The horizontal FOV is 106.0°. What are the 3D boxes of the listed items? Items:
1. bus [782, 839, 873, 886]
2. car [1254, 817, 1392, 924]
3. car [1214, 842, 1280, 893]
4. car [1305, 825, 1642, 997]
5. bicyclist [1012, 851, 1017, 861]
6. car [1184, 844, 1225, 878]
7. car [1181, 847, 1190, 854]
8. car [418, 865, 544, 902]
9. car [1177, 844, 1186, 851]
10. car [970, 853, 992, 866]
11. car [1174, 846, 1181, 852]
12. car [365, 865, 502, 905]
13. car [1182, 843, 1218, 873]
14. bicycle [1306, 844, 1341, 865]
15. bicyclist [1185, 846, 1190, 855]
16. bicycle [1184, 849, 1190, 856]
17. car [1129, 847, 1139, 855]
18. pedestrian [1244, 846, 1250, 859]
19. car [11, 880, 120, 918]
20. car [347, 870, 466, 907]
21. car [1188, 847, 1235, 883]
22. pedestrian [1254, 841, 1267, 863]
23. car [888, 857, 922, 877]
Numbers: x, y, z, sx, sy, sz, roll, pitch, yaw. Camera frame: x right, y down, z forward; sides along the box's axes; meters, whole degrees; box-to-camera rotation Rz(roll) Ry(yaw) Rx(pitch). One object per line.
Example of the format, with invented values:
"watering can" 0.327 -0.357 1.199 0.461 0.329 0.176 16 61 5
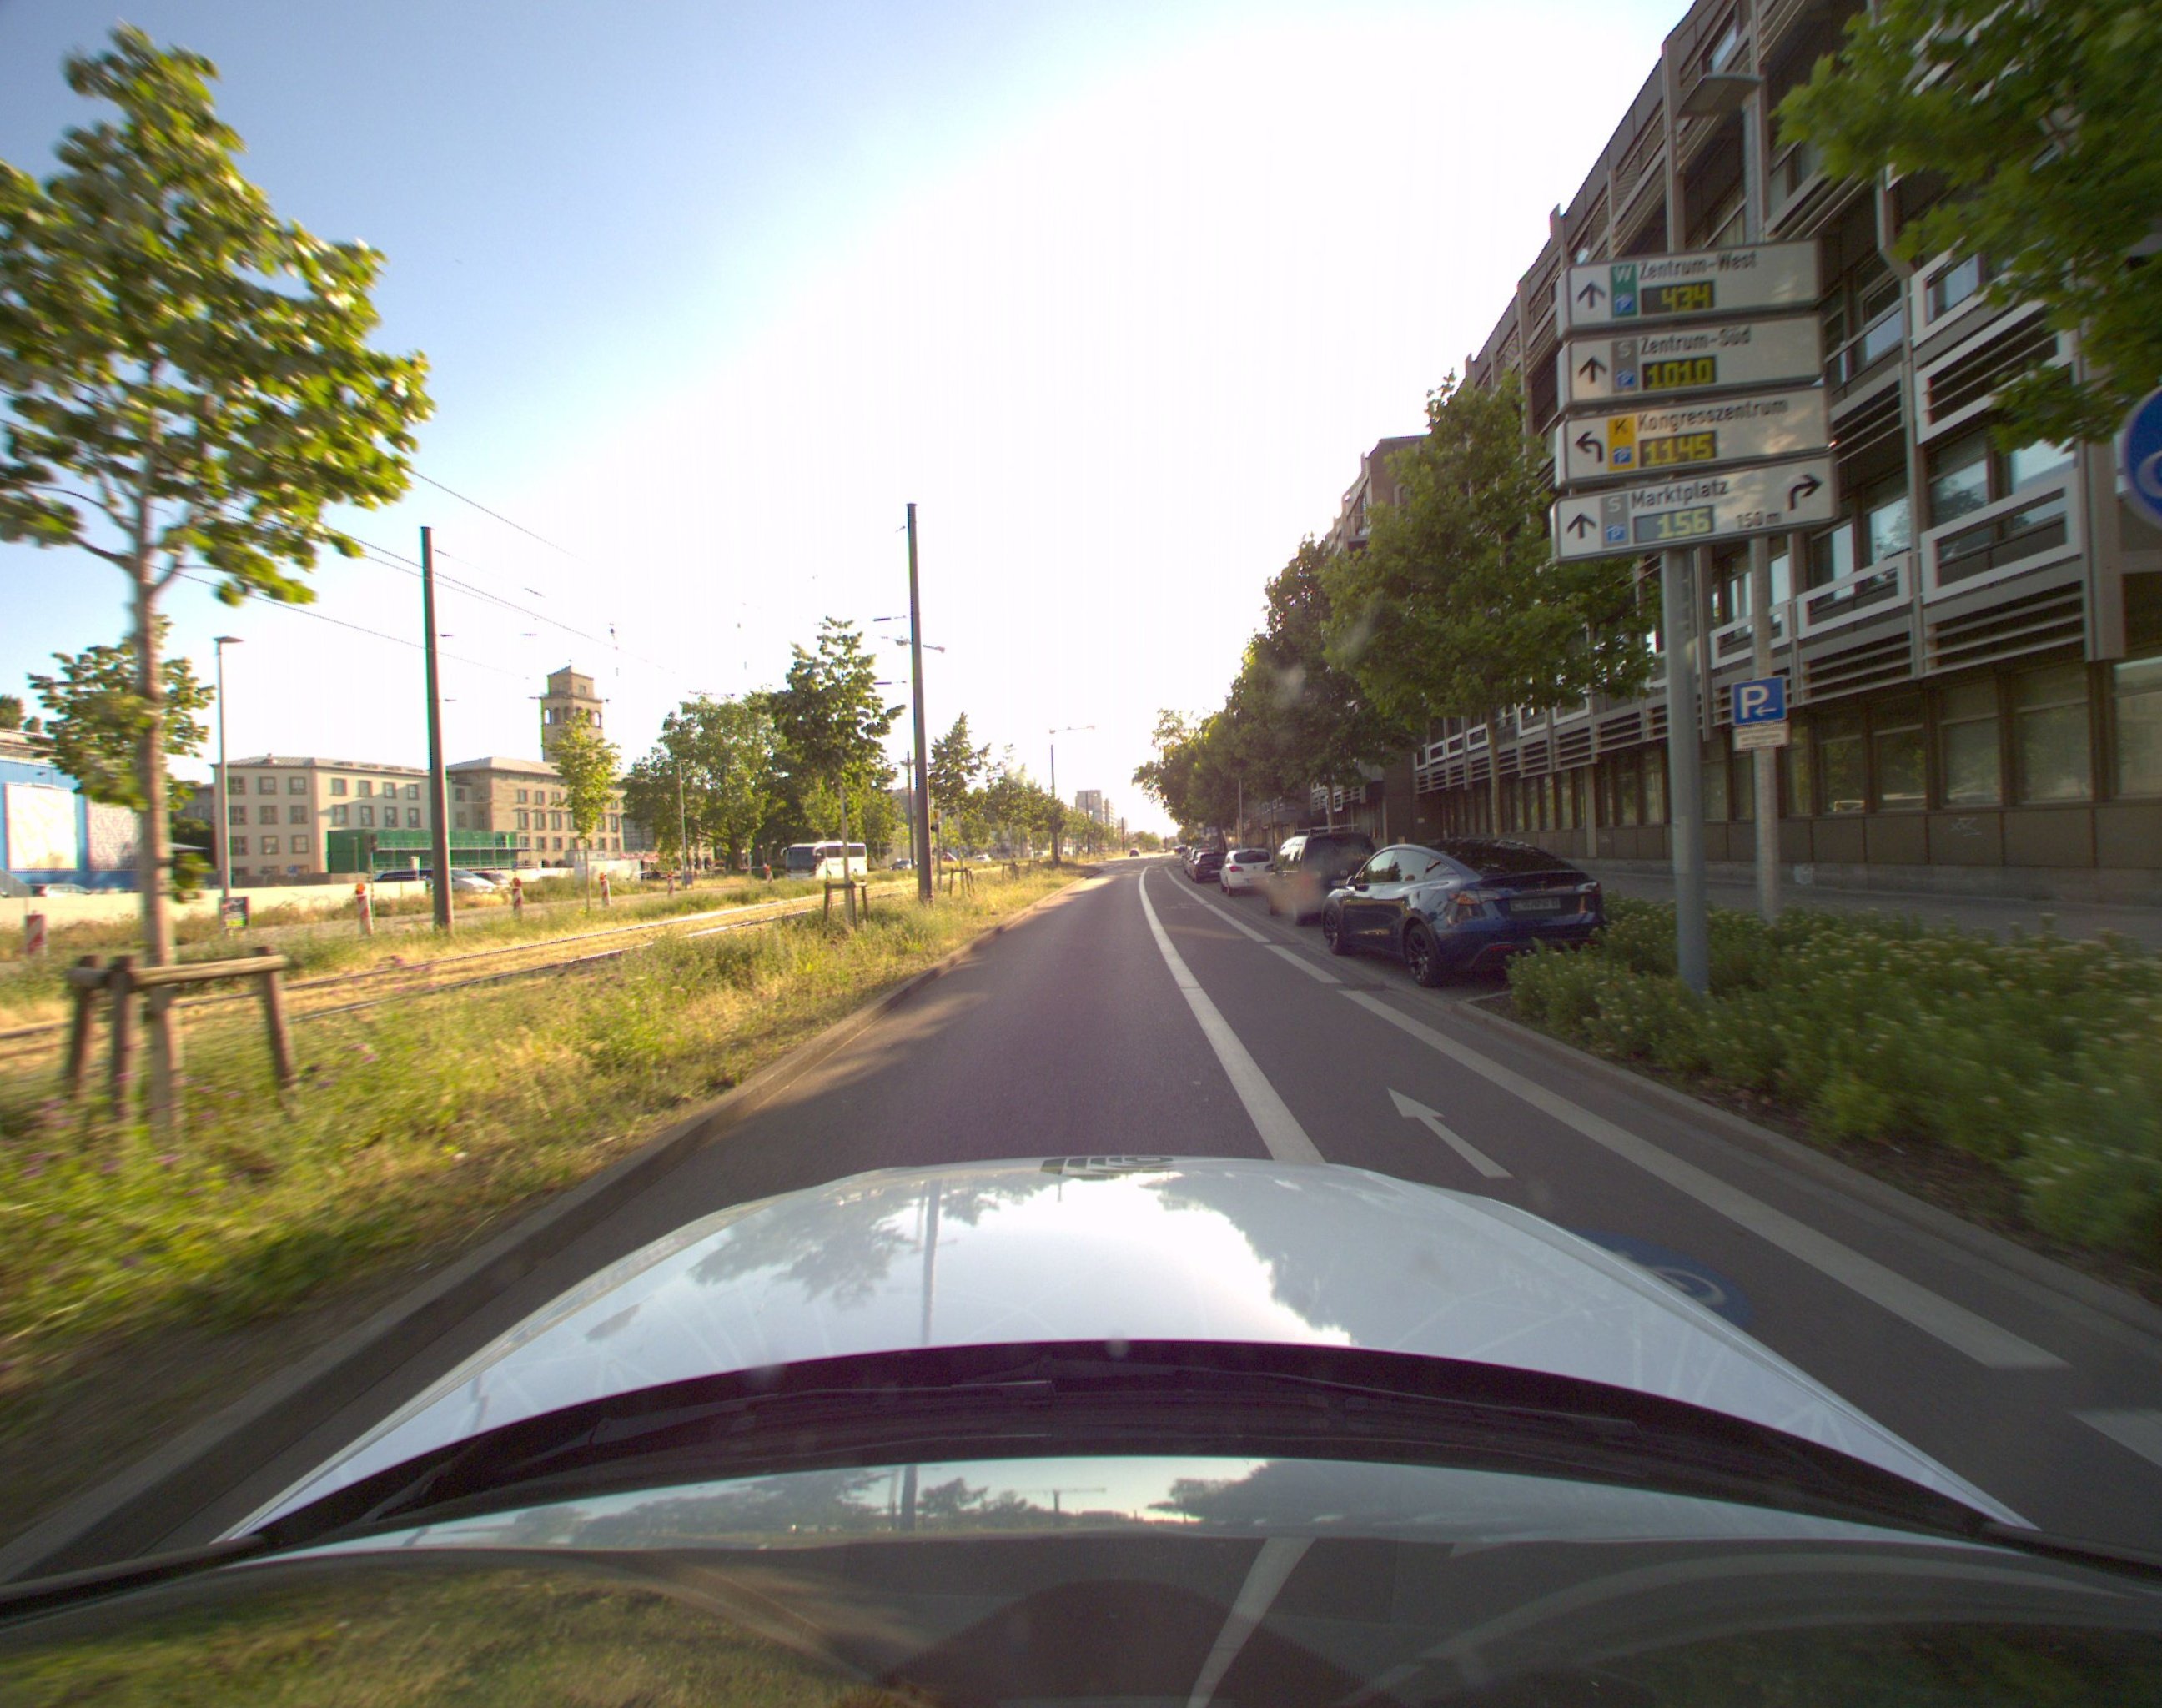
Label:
"bus" -21.537 0.624 70.275 2.786 3.594 12.716 -2 0 5
"car" 5.094 0.302 17.754 1.728 1.919 4.396 -4 0 2
"car" 5.559 0.410 27.714 1.656 1.489 4.210 -4 0 5
"car" 4.630 0.564 10.584 1.926 1.598 4.696 -4 0 -2
"bicyclist" -11.888 0.388 145.549 0.684 1.708 0.956 -2 0 7
"car" 6.670 0.327 44.353 1.720 1.621 4.220 -4 0 4
"car" 24.924 -0.868 194.890 1.931 1.484 3.931 -2 0 5
"car" -32.252 1.567 43.844 5.204 1.717 2.127 -2 0 3
"car" 22.073 -1.469 178.673 1.931 1.428 3.931 -2 0 5
"car" -13.363 0.674 109.195 1.985 1.642 4.173 -2 0 5
"car" 26.080 -1.274 220.958 1.750 1.484 3.856 -2 0 5
"car" -32.573 1.535 41.077 5.204 1.717 2.127 -2 0 3
"car" 7.287 0.210 50.273 1.720 1.688 4.519 -4 0 4
"bicycle" 14.433 0.032 48.513 1.894 1.093 0.392 -4 0 -1
"bicyclist" 20.001 -0.604 153.456 0.797 1.602 0.785 -2 0 2
"bicycle" 20.022 -0.282 153.534 0.796 1.204 2.265 -2 0 3
"car" 9.991 -0.641 152.409 1.768 1.428 4.006 -1 0 5
"pedestrian" 24.707 -0.226 121.218 0.827 1.856 0.848 -2 0 6
"car" -50.898 2.192 40.940 1.412 1.636 4.196 -2 0 -20
"car" -31.930 1.623 38.626 3.970 1.485 2.002 -2 0 3
"car" 6.137 0.484 38.705 1.786 1.449 4.382 -4 0 5
"pedestrian" 14.266 -0.147 64.636 0.785 1.648 1.138 -3 0 5
"car" -16.221 1.197 75.264 1.985 1.651 4.275 -2 0 4
